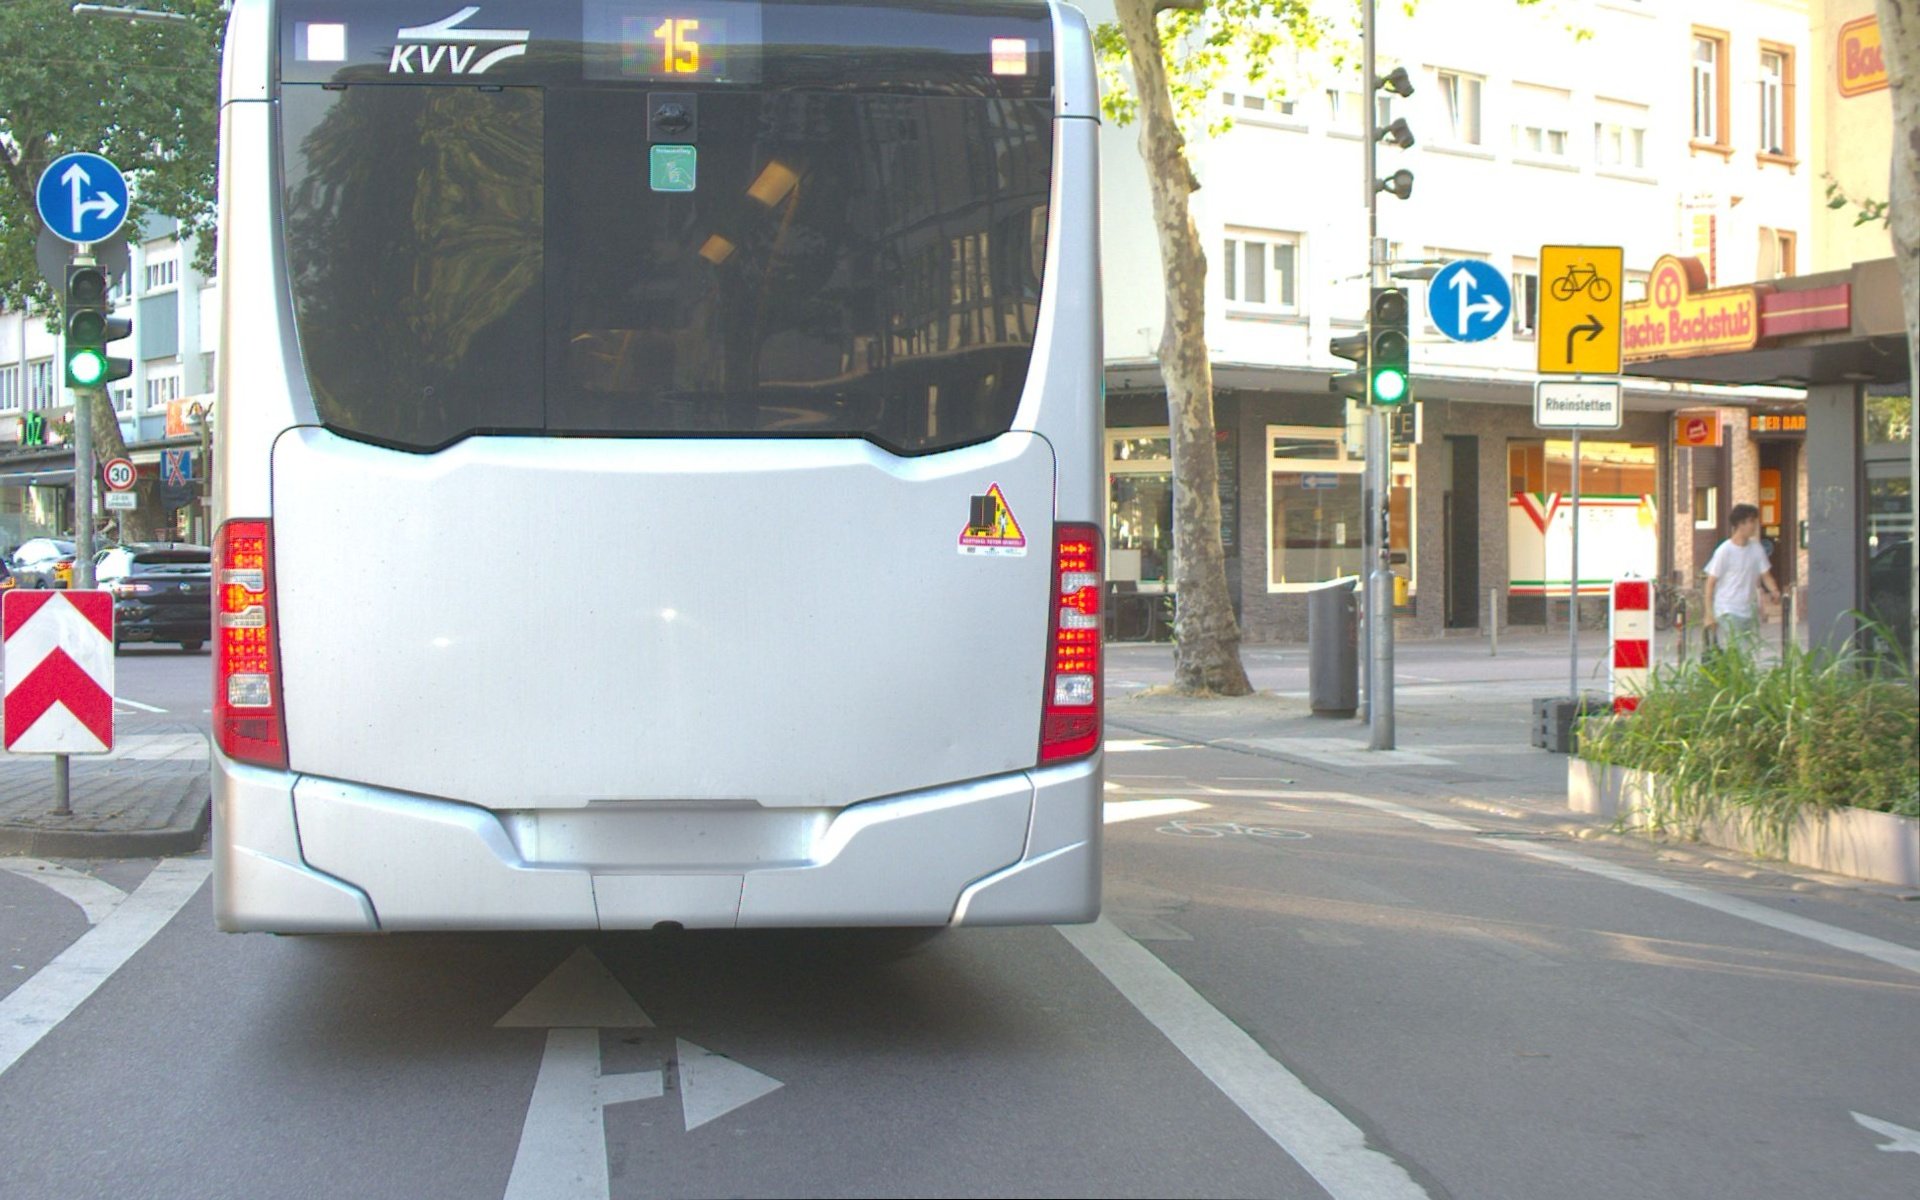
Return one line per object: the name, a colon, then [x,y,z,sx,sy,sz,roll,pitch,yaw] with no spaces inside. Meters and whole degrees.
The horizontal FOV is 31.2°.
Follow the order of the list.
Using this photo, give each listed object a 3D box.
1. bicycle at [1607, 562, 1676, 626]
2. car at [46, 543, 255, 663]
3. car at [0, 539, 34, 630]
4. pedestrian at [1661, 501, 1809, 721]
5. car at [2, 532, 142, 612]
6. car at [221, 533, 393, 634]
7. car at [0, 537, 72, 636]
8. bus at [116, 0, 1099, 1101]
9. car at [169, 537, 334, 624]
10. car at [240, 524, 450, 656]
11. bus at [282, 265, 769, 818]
bicycle: [11.276,-0.104,56.850,0.294,1.037,1.714,-2,-1,41]
car: [-10.412,-0.002,44.023,1.755,1.459,4.001,0,1,-26]
car: [-16.683,-0.276,57.134,1.755,1.459,4.001,0,1,-26]
pedestrian: [6.215,0.071,27.590,0.835,1.706,0.794,-2,2,-19]
car: [-17.694,-0.577,68.449,1.662,1.463,3.413,-4,3,-32]
car: [-10.870,-0.302,57.114,1.662,1.511,3.413,-4,3,-31]
car: [-14.844,-0.233,52.767,1.755,1.459,4.001,0,1,-23]
bus: [-1.647,-0.270,14.404,2.657,3.088,10.218,0,1,-8]
car: [-12.562,-0.367,60.836,1.662,1.390,3.412,-4,3,-33]
car: [-7.993,-0.155,44.447,1.759,1.622,3.613,0,1,-26]
bus: [-3.431,-0.391,24.474,2.657,3.088,10.219,0,1,-12]
